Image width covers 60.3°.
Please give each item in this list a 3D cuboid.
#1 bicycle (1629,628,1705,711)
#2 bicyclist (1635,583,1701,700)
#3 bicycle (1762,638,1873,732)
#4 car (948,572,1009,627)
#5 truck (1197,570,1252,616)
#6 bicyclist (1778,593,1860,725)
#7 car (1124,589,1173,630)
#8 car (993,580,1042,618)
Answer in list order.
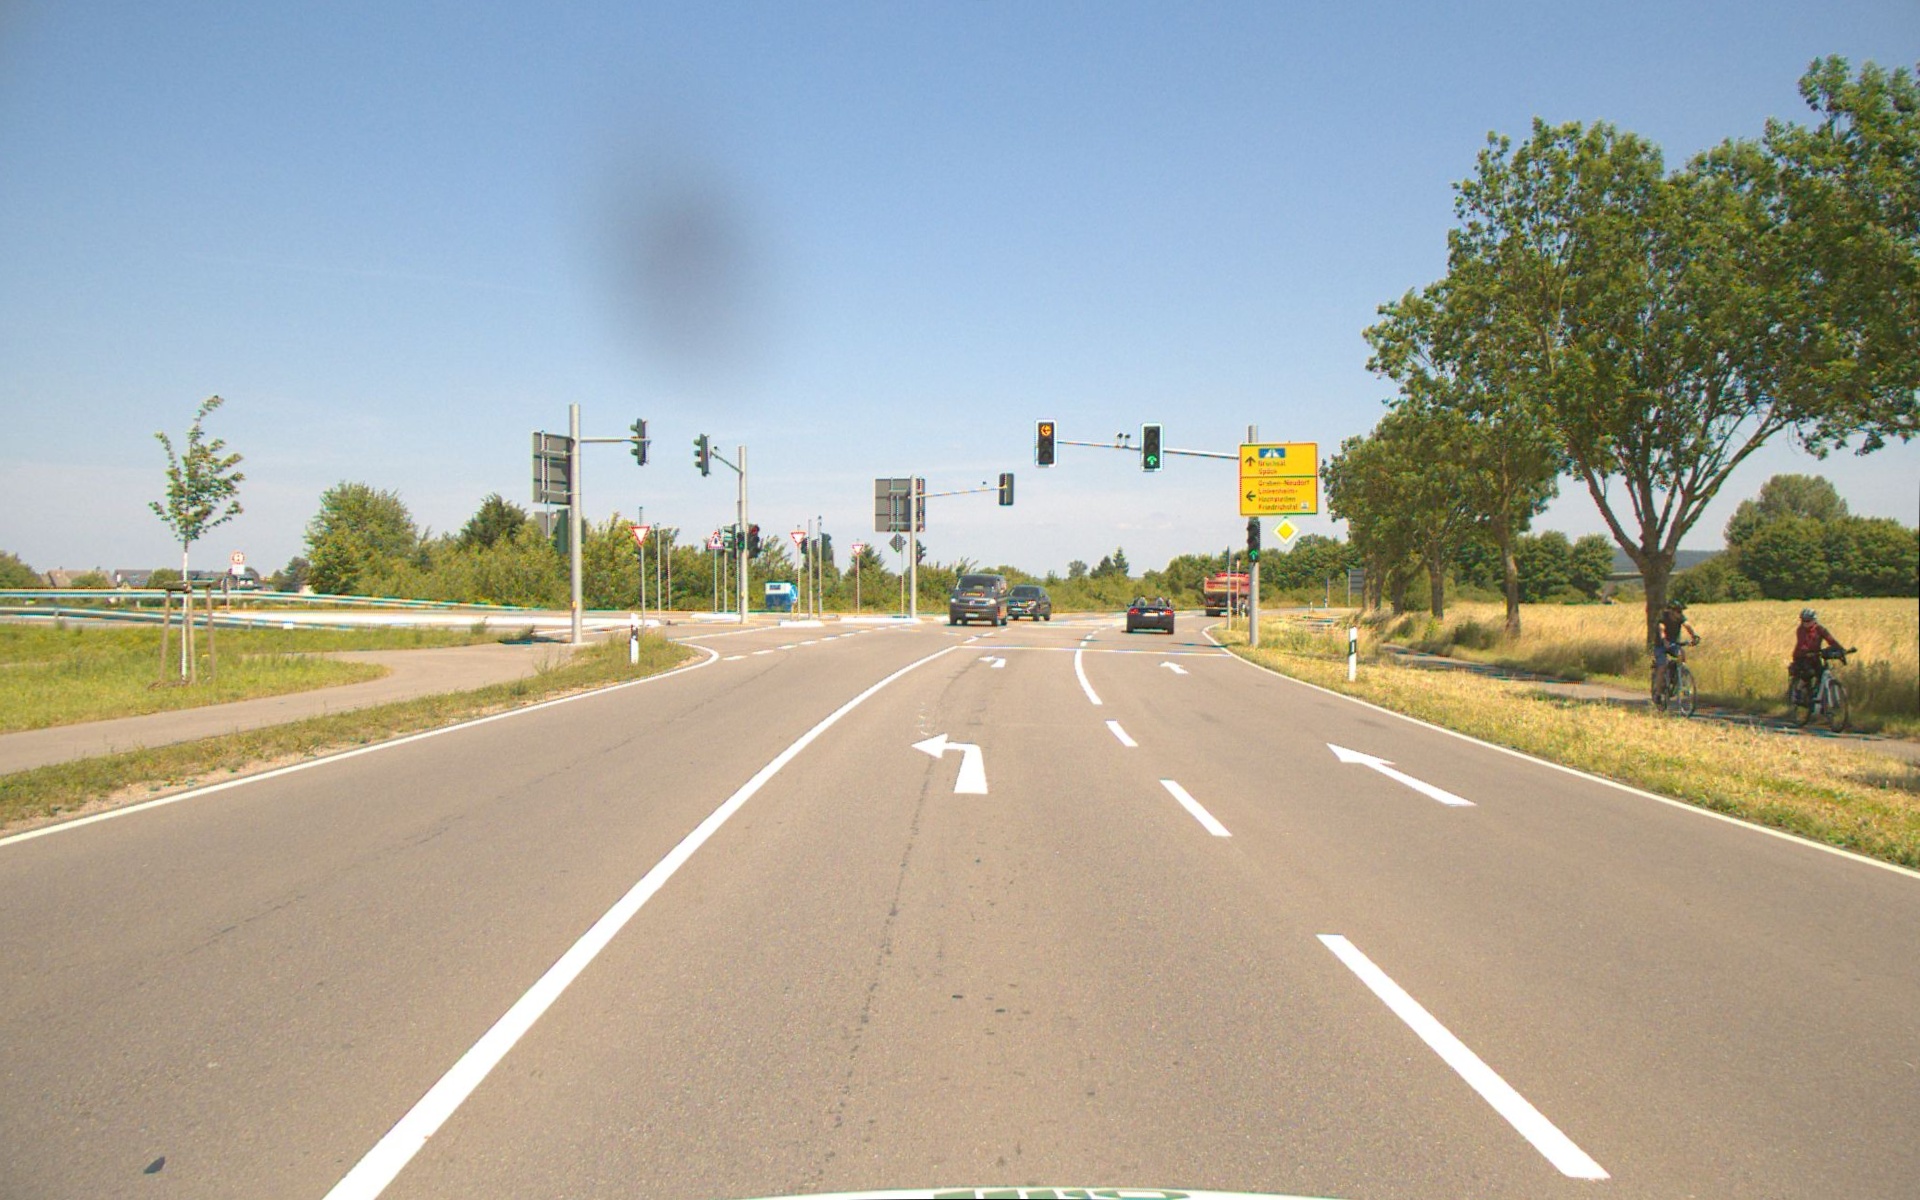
[{"bbox_3d":[11.109,1.072,26.042,0.592,1.197,2.053,3,0,10],"label":"bicycle"},{"bbox_3d":[11.143,0.628,26.071,0.575,1.764,1.173,4,1,10],"label":"bicyclist"},{"bbox_3d":[12.419,1.206,24.018,0.684,1.231,2.052,3,0,6],"label":"bicycle"},{"bbox_3d":[0.758,-0.043,64.291,1.889,2.012,4.688,1,1,6],"label":"car"},{"bbox_3d":[18.738,-0.454,116.810,2.657,3.106,8.168,0,-1,17],"label":"truck"},{"bbox_3d":[12.460,0.833,24.009,0.614,1.813,0.978,4,1,6],"label":"bicyclist"},{"bbox_3d":[6.934,0.377,60.607,1.710,1.400,3.681,1,-1,7],"label":"car"},{"bbox_3d":[2.809,-0.076,79.913,1.889,1.770,4.893,1,1,7],"label":"car"}]
